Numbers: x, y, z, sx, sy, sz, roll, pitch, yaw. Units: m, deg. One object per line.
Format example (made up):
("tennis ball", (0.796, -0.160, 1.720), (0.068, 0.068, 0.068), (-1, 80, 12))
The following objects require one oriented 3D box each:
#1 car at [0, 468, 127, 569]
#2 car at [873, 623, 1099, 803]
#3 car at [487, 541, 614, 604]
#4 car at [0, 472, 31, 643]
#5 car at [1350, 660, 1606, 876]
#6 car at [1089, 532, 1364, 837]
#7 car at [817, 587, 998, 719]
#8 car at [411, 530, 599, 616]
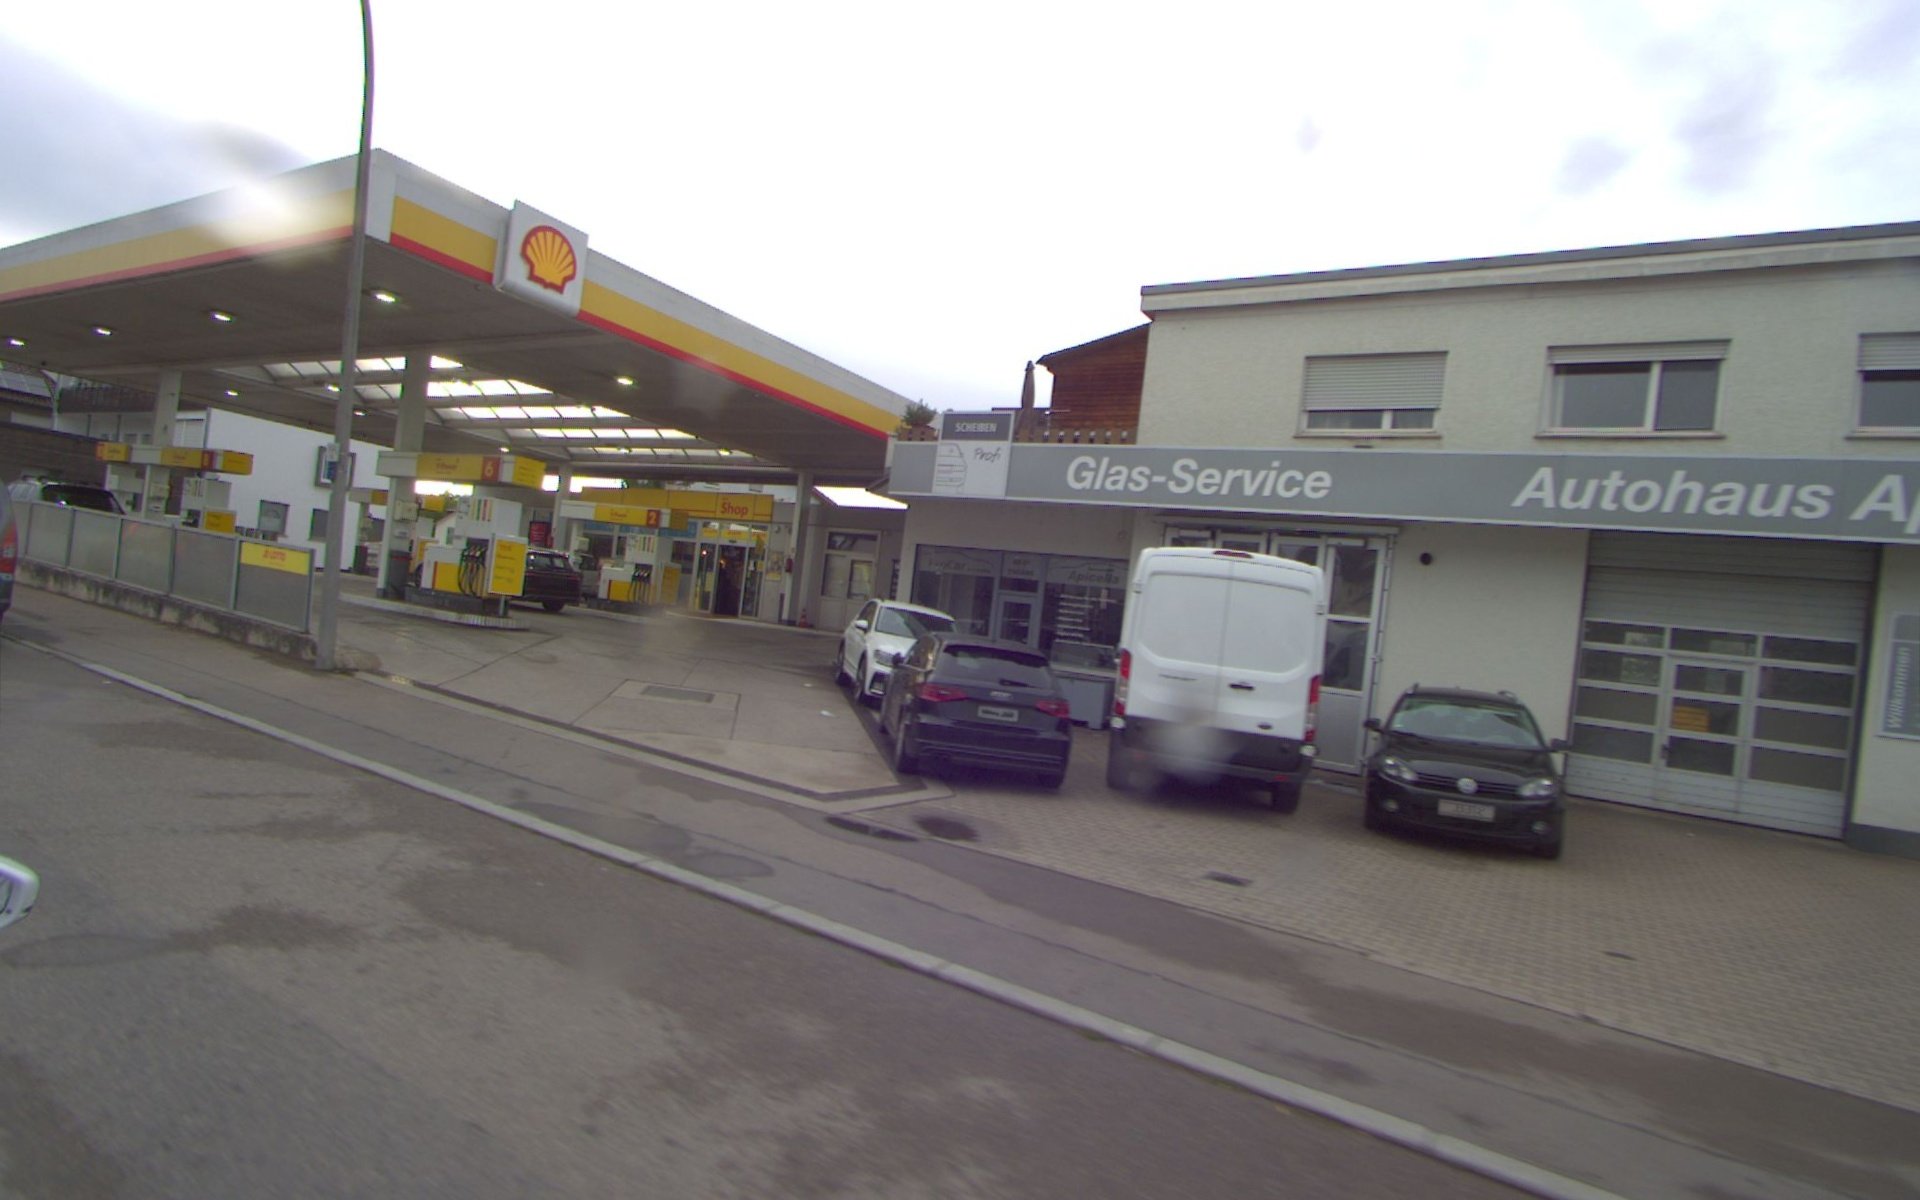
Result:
("car", (-20.094, -1.834, 21.741), (3.932, 1.781, 1.823), (7, -1, 29))
("car", (0.082, 1.105, 11.276), (1.750, 1.391, 3.996), (8, -1, -8))
("car", (-12.988, -0.882, 31.861), (3.717, 1.483, 1.743), (7, -1, 32))
("car", (-12.189, -0.748, 11.017), (4.370, 1.757, 1.661), (7, -3, 32))
("car", (5.578, 1.636, 10.916), (1.864, 1.592, 4.311), (7, -1, 28))
("car", (2.884, 0.874, 11.799), (2.205, 2.550, 4.809), (8, -1, 10))
("car", (-1.030, 0.771, 16.528), (1.969, 1.660, 4.350), (8, -1, -14))
("car", (-11.022, -0.675, 24.289), (4.595, 1.483, 1.743), (7, -1, 32))
